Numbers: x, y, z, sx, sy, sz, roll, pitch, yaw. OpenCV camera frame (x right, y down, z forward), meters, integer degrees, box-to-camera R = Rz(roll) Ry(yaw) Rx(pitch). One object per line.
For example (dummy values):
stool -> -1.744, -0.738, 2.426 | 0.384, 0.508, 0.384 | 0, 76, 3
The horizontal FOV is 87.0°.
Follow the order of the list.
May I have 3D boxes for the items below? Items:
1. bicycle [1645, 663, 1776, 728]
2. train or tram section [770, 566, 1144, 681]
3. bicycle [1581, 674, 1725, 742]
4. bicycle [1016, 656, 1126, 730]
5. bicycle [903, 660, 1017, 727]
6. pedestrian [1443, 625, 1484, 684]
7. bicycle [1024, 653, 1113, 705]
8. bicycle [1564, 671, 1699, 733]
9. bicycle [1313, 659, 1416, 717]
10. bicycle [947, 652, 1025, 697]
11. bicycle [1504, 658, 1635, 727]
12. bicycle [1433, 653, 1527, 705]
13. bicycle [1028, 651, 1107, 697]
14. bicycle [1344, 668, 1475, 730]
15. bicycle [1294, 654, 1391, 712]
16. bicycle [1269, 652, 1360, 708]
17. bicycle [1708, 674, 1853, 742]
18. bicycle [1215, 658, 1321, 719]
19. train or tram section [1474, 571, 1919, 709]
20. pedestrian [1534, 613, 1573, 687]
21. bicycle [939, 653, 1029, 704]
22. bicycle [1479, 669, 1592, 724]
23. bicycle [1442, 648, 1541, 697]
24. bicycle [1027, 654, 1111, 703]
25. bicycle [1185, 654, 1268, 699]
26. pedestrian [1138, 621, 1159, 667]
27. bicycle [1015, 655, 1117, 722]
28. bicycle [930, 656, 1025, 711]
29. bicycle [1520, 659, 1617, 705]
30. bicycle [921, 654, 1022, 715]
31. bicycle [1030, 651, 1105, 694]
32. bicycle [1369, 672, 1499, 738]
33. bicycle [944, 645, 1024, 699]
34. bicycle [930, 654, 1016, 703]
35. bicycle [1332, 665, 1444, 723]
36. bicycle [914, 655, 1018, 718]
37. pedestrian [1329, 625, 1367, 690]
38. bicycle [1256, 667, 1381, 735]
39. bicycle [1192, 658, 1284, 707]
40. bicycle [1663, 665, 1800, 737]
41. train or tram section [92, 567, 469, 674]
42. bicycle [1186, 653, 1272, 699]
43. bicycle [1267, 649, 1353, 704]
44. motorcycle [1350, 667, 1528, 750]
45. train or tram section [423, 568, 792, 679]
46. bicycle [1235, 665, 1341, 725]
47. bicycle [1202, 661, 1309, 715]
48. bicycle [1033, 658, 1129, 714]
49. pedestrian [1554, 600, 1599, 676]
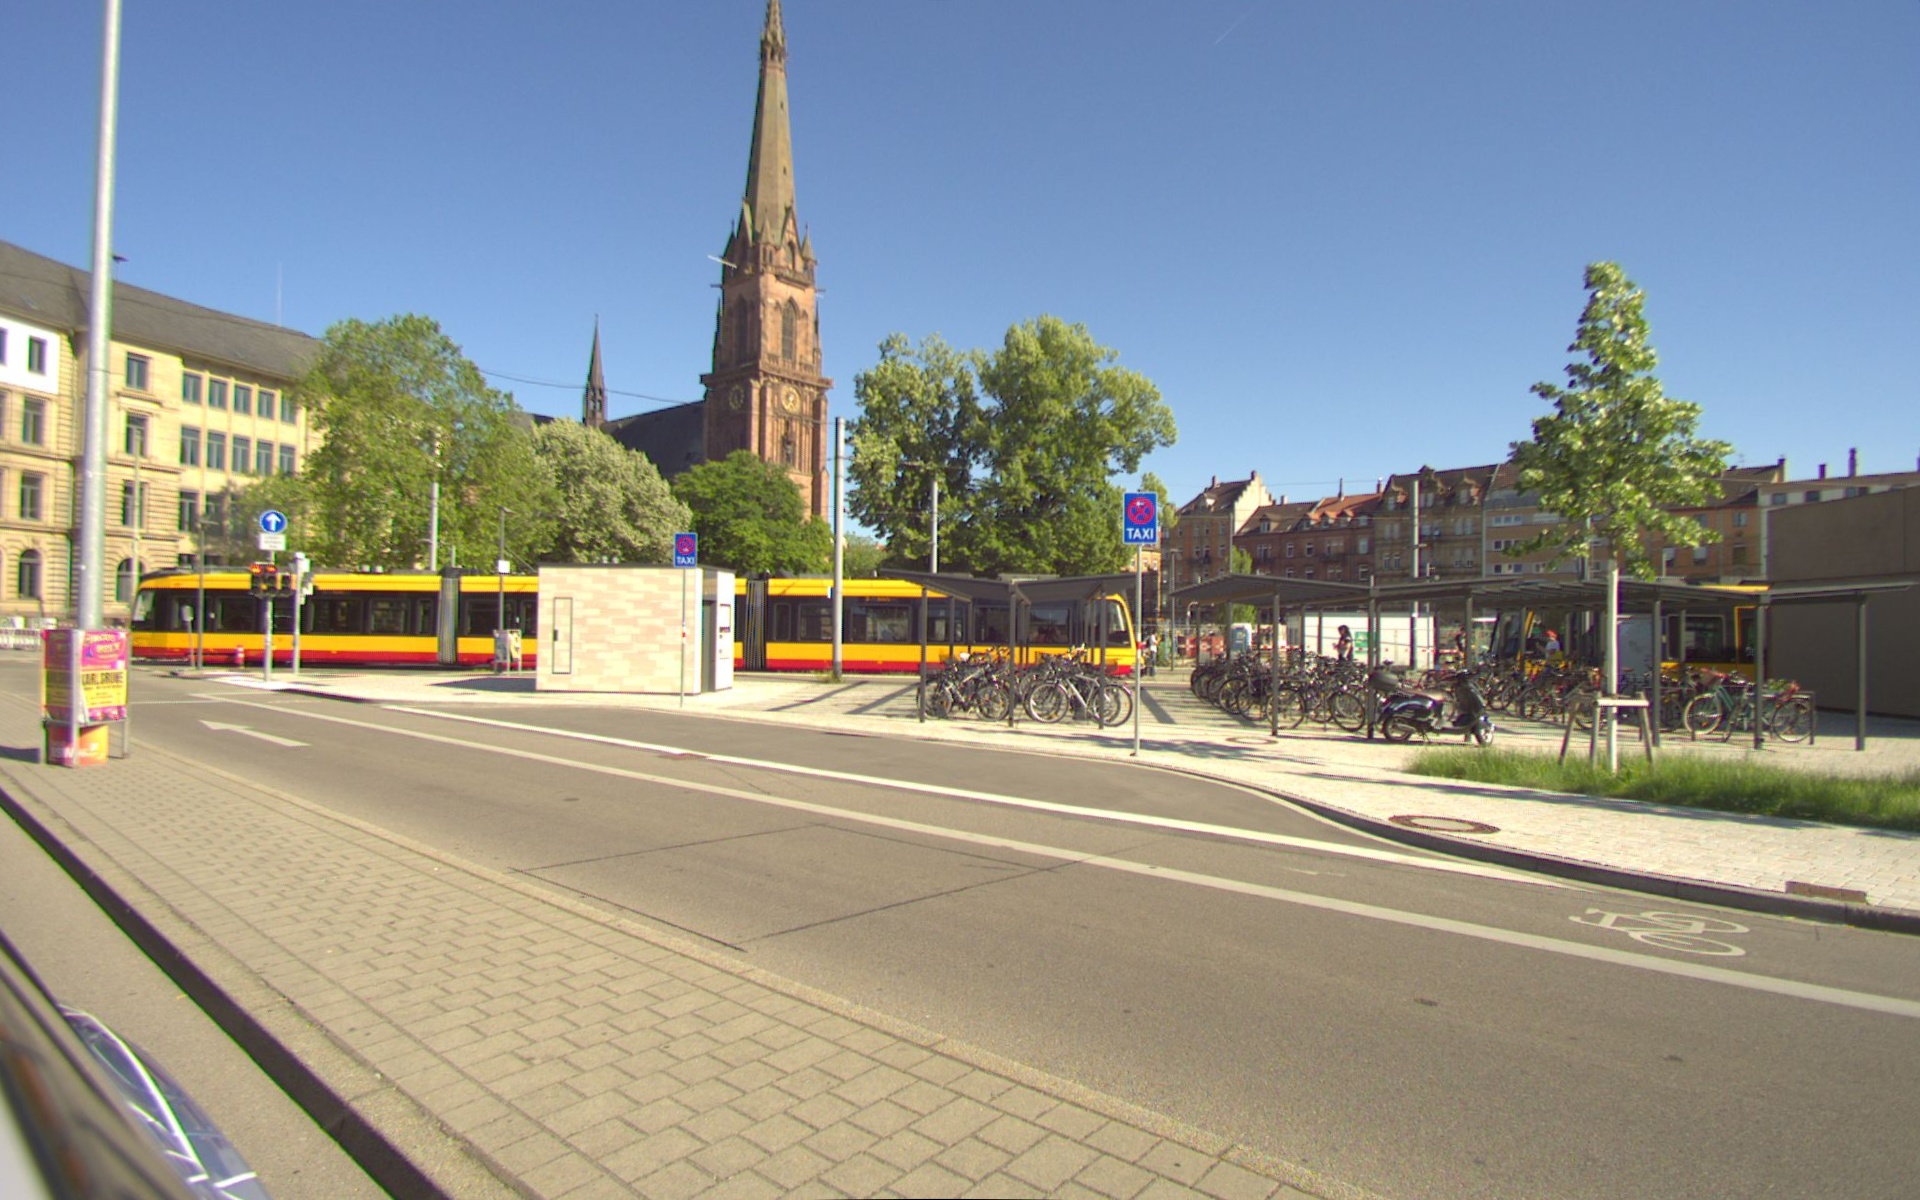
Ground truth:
bicycle -> 13.592, 1.724, 18.364 | 1.808, 1.101, 0.627 | 0, -2, 7
train or tram section -> -0.086, 0.767, 34.236 | 12.174, 3.628, 2.828 | 0, -2, 6
bicycle -> 11.161, 1.730, 16.353 | 1.809, 1.015, 0.627 | 0, -2, 9
bicycle -> 1.867, 1.563, 17.137 | 1.808, 1.167, 0.627 | 1, -2, 7
bicycle -> 0.008, 1.590, 17.376 | 1.847, 1.015, 0.699 | 2, -2, 9
pedestrian -> 17.667, 1.912, 35.513 | 0.997, 2.029, 0.872 | 0, -2, 0
bicycle -> 2.231, 1.617, 20.853 | 1.808, 1.015, 0.627 | 0, -2, 7
bicycle -> 11.605, 1.750, 17.530 | 1.872, 1.004, 0.499 | 0, -2, 13
bicycle -> 8.076, 1.755, 20.266 | 1.808, 1.088, 0.627 | 0, -2, 7
bicycle -> 0.622, 1.758, 24.119 | 1.809, 1.015, 0.627 | 0, -2, 9
bicycle -> 11.299, 1.711, 18.805 | 2.029, 1.218, 0.505 | 0, -2, 8
bicycle -> 12.003, 1.823, 23.407 | 1.809, 1.140, 0.627 | 0, -2, 9
bicycle -> 2.512, 1.710, 23.613 | 1.808, 1.015, 0.627 | 0, -2, 7
bicycle -> 7.921, 1.738, 17.881 | 2.003, 1.015, 0.627 | 0, -2, 7
bicycle -> 8.113, 1.754, 21.532 | 1.808, 1.170, 0.627 | 0, -2, 7
bicycle -> 7.931, 1.775, 22.682 | 1.808, 1.198, 0.647 | 0, -2, 7
bicycle -> 13.022, 1.703, 16.081 | 1.803, 1.015, 0.629 | 1, -2, -3
bicycle -> 5.878, 1.690, 19.414 | 1.859, 1.101, 0.626 | 0, -2, 8
train or tram section -> 21.541, 1.090, 28.659 | 12.179, 3.628, 2.748 | 0, -2, 7
pedestrian -> 15.373, 1.287, 26.226 | 0.595, 1.869, 0.683 | 2, -2, -38
bicycle -> 0.515, 1.623, 21.144 | 1.809, 1.015, 0.627 | 0, -2, 9
bicycle -> 11.264, 1.881, 19.845 | 1.809, 1.015, 0.627 | 0, -2, 9
bicycle -> 11.689, 1.585, 22.311 | 1.809, 1.015, 0.627 | 0, -2, 9
bicycle -> 2.380, 1.695, 22.127 | 1.808, 1.015, 0.627 | 0, -2, 7
bicycle -> 6.253, 1.794, 23.802 | 1.808, 1.015, 0.627 | 0, -2, 6
pedestrian -> 8.546, 1.990, 45.882 | 0.861, 2.029, 0.749 | 0, -2, 5
bicycle -> 1.911, 1.585, 18.280 | 1.808, 1.157, 0.627 | 0, -2, 7
bicycle -> 0.363, 1.642, 19.989 | 1.809, 1.015, 0.627 | 0, -2, 9
bicycle -> 14.055, 1.889, 23.410 | 1.808, 1.015, 0.627 | 0, -2, 7
bicycle -> 0.215, 1.551, 18.769 | 1.809, 1.059, 0.571 | 0, -2, 9
bicycle -> 2.634, 1.766, 24.813 | 1.808, 1.015, 0.627 | 0, -2, 7
bicycle -> 7.770, 1.711, 16.654 | 1.808, 1.015, 0.627 | 0, -2, 7
bicycle -> 0.564, 1.654, 23.419 | 1.809, 1.188, 0.627 | 0, -2, 9
bicycle -> 0.291, 1.698, 22.175 | 1.809, 1.015, 0.627 | 0, -2, 9
bicycle -> 8.002, 1.756, 18.975 | 1.808, 1.015, 0.627 | 0, -2, 7
bicycle -> 0.118, 1.545, 18.241 | 1.809, 1.074, 0.627 | 0, -2, 9
pedestrian -> 10.144, 1.483, 26.464 | 0.762, 1.672, 0.604 | 0, -2, 4
bicycle -> 5.979, 1.684, 16.983 | 1.871, 1.050, 0.688 | 0, -2, 9
bicycle -> 5.971, 1.765, 21.810 | 1.805, 1.015, 0.629 | 0, -2, 0
bicycle -> 12.993, 1.696, 17.068 | 1.805, 1.155, 0.629 | 0, -2, 0
train or tram section -> -24.503, 0.728, 36.706 | 12.382, 3.628, 2.796 | 0, -2, 6
bicycle -> 6.123, 1.729, 23.115 | 1.807, 1.015, 0.628 | 0, -2, 5
bicycle -> 8.238, 1.793, 23.880 | 1.808, 1.242, 0.627 | 0, -2, 7
motorcycle -> 7.170, 1.611, 15.238 | 2.333, 1.167, 0.610 | 0, -2, 7
train or tram section -> -12.235, 0.792, 35.536 | 12.174, 3.628, 2.796 | 0, -2, 6
bicycle -> 5.855, 1.693, 18.136 | 1.731, 1.015, 0.547 | 0, -2, 10
bicycle -> 5.951, 1.768, 20.435 | 1.978, 1.015, 0.628 | 0, -2, 4
bicycle -> 2.323, 1.642, 19.545 | 1.808, 1.015, 0.745 | 0, -2, 7
pedestrian -> 15.434, 0.941, 25.347 | 0.700, 1.869, 0.751 | 2, -2, -38
